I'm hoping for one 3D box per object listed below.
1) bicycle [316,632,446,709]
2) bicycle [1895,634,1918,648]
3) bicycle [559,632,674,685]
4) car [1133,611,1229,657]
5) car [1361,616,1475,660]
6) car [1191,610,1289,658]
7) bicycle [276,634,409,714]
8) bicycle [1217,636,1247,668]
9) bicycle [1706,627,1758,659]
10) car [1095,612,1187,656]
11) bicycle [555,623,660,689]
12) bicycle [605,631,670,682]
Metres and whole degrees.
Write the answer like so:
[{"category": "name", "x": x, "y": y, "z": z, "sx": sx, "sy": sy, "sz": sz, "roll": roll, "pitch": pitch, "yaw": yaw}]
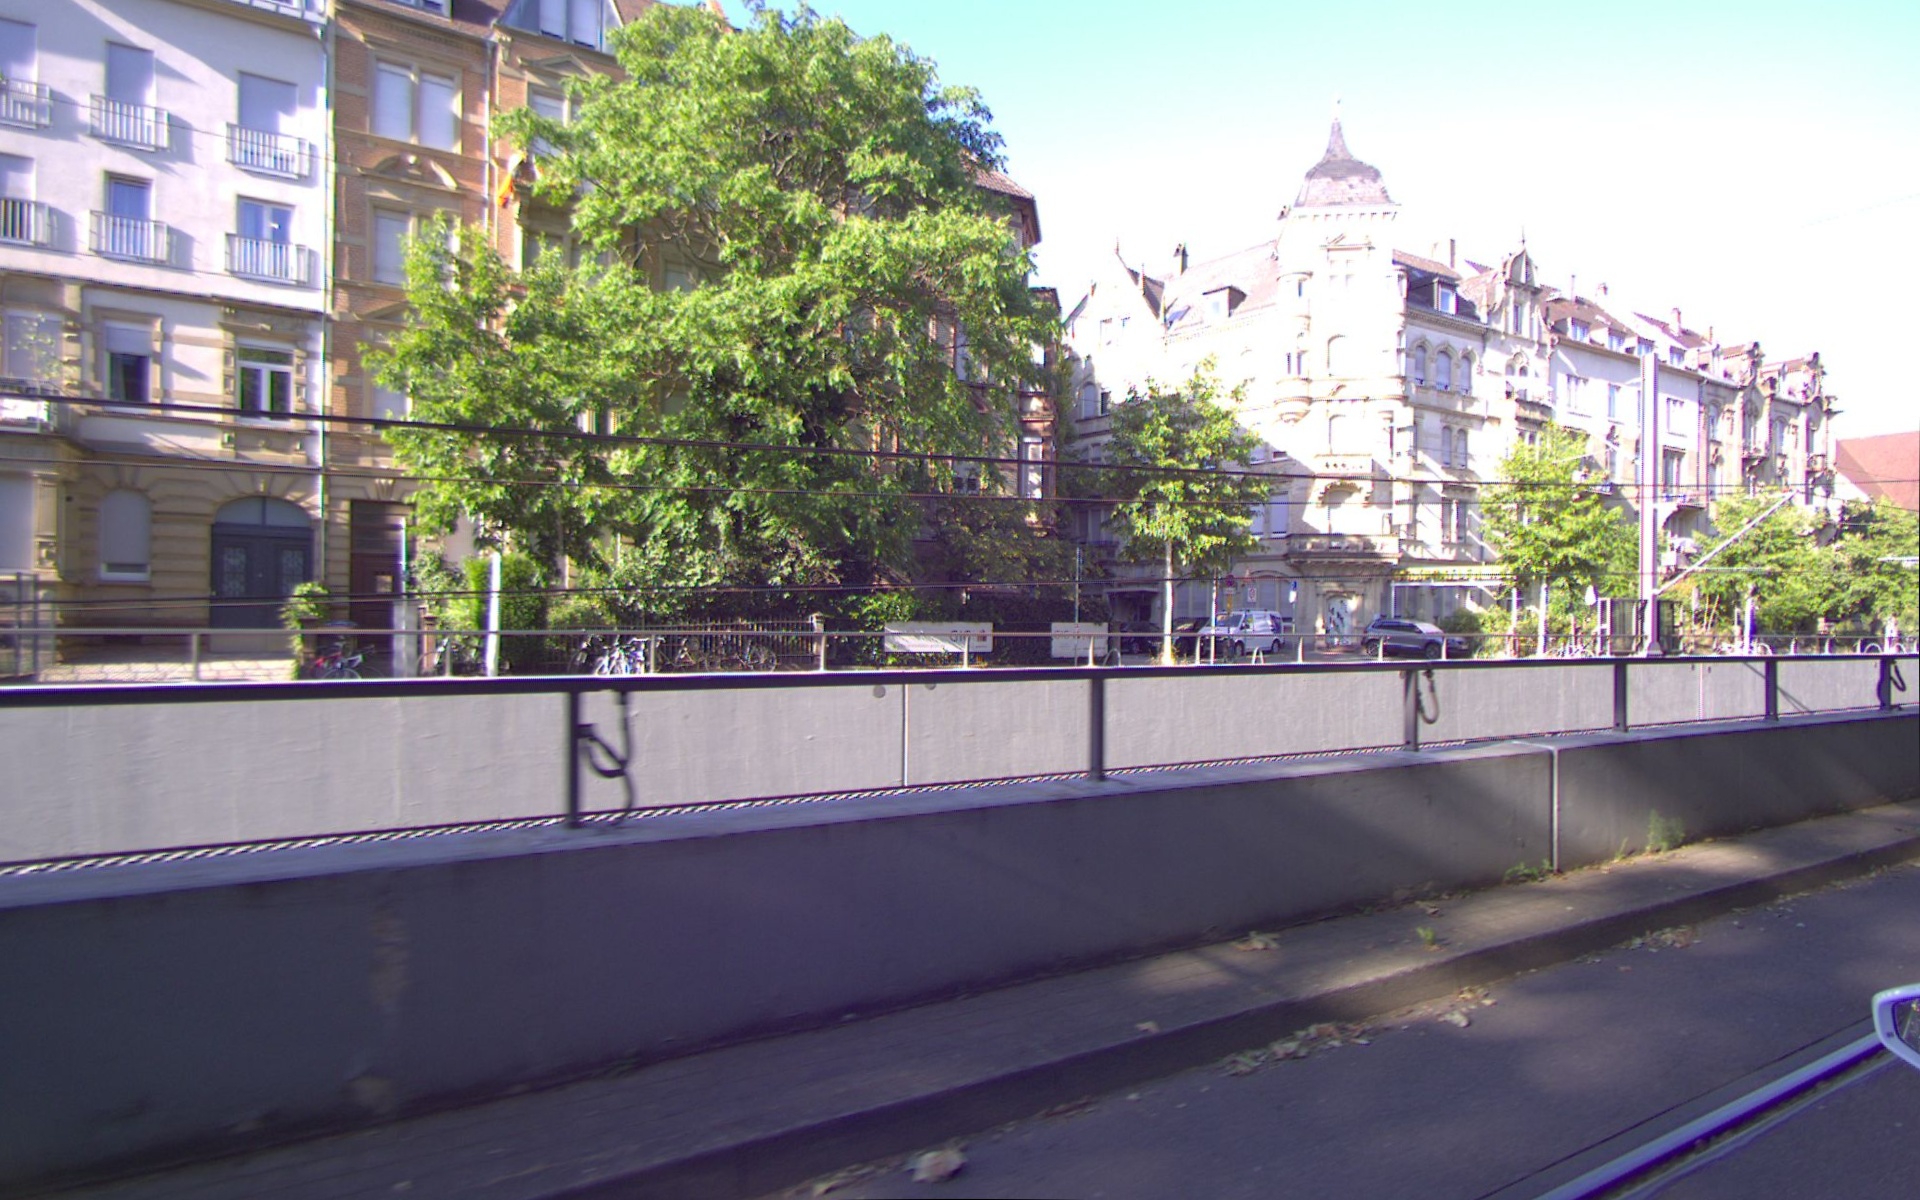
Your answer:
[{"category": "bicycle", "x": -10.275, "y": 1.220, "z": 17.779, "sx": 2.736, "sy": 1.113, "sz": 0.642, "roll": 3, "pitch": 2, "yaw": 28}, {"category": "bicycle", "x": 58.249, "y": 2.542, "z": 61.835, "sx": 1.863, "sy": 0.811, "sz": 0.415, "roll": 1, "pitch": 2, "yaw": -27}, {"category": "bicycle", "x": -7.616, "y": 1.277, "z": 22.322, "sx": 2.348, "sy": 1.113, "sz": 0.552, "roll": 1, "pitch": 2, "yaw": -30}, {"category": "car", "x": 10.014, "y": 1.488, "z": 45.339, "sx": 4.446, "sy": 1.874, "sz": 1.975, "roll": 0, "pitch": 2, "yaw": -42}, {"category": "car", "x": 19.220, "y": 1.563, "z": 42.300, "sx": 1.809, "sy": 1.646, "sz": 3.956, "roll": 1, "pitch": 1, "yaw": -38}, {"category": "car", "x": 12.194, "y": 1.427, "z": 43.604, "sx": 4.446, "sy": 1.874, "sz": 1.975, "roll": 0, "pitch": 2, "yaw": -42}, {"category": "bicycle", "x": -10.560, "y": 1.227, "z": 17.145, "sx": 2.736, "sy": 1.113, "sz": 0.642, "roll": 3, "pitch": 2, "yaw": 28}, {"category": "bicycle", "x": 8.928, "y": 1.708, "z": 32.921, "sx": 0.447, "sy": 1.018, "sz": 1.941, "roll": 3, "pitch": -1, "yaw": 29}, {"category": "bicycle", "x": 33.314, "y": 1.845, "z": 43.380, "sx": 0.591, "sy": 1.297, "sz": 1.726, "roll": 1, "pitch": -1, "yaw": -23}, {"category": "car", "x": 8.601, "y": 1.569, "z": 47.536, "sx": 4.446, "sy": 1.874, "sz": 1.975, "roll": 0, "pitch": 2, "yaw": -42}, {"category": "bicycle", "x": -6.955, "y": 1.080, "z": 19.756, "sx": 2.333, "sy": 1.113, "sz": 0.556, "roll": 3, "pitch": 2, "yaw": 31}, {"category": "bicycle", "x": -6.480, "y": 1.123, "z": 20.151, "sx": 1.246, "sy": 0.917, "sz": 0.538, "roll": 3, "pitch": 2, "yaw": 30}]
